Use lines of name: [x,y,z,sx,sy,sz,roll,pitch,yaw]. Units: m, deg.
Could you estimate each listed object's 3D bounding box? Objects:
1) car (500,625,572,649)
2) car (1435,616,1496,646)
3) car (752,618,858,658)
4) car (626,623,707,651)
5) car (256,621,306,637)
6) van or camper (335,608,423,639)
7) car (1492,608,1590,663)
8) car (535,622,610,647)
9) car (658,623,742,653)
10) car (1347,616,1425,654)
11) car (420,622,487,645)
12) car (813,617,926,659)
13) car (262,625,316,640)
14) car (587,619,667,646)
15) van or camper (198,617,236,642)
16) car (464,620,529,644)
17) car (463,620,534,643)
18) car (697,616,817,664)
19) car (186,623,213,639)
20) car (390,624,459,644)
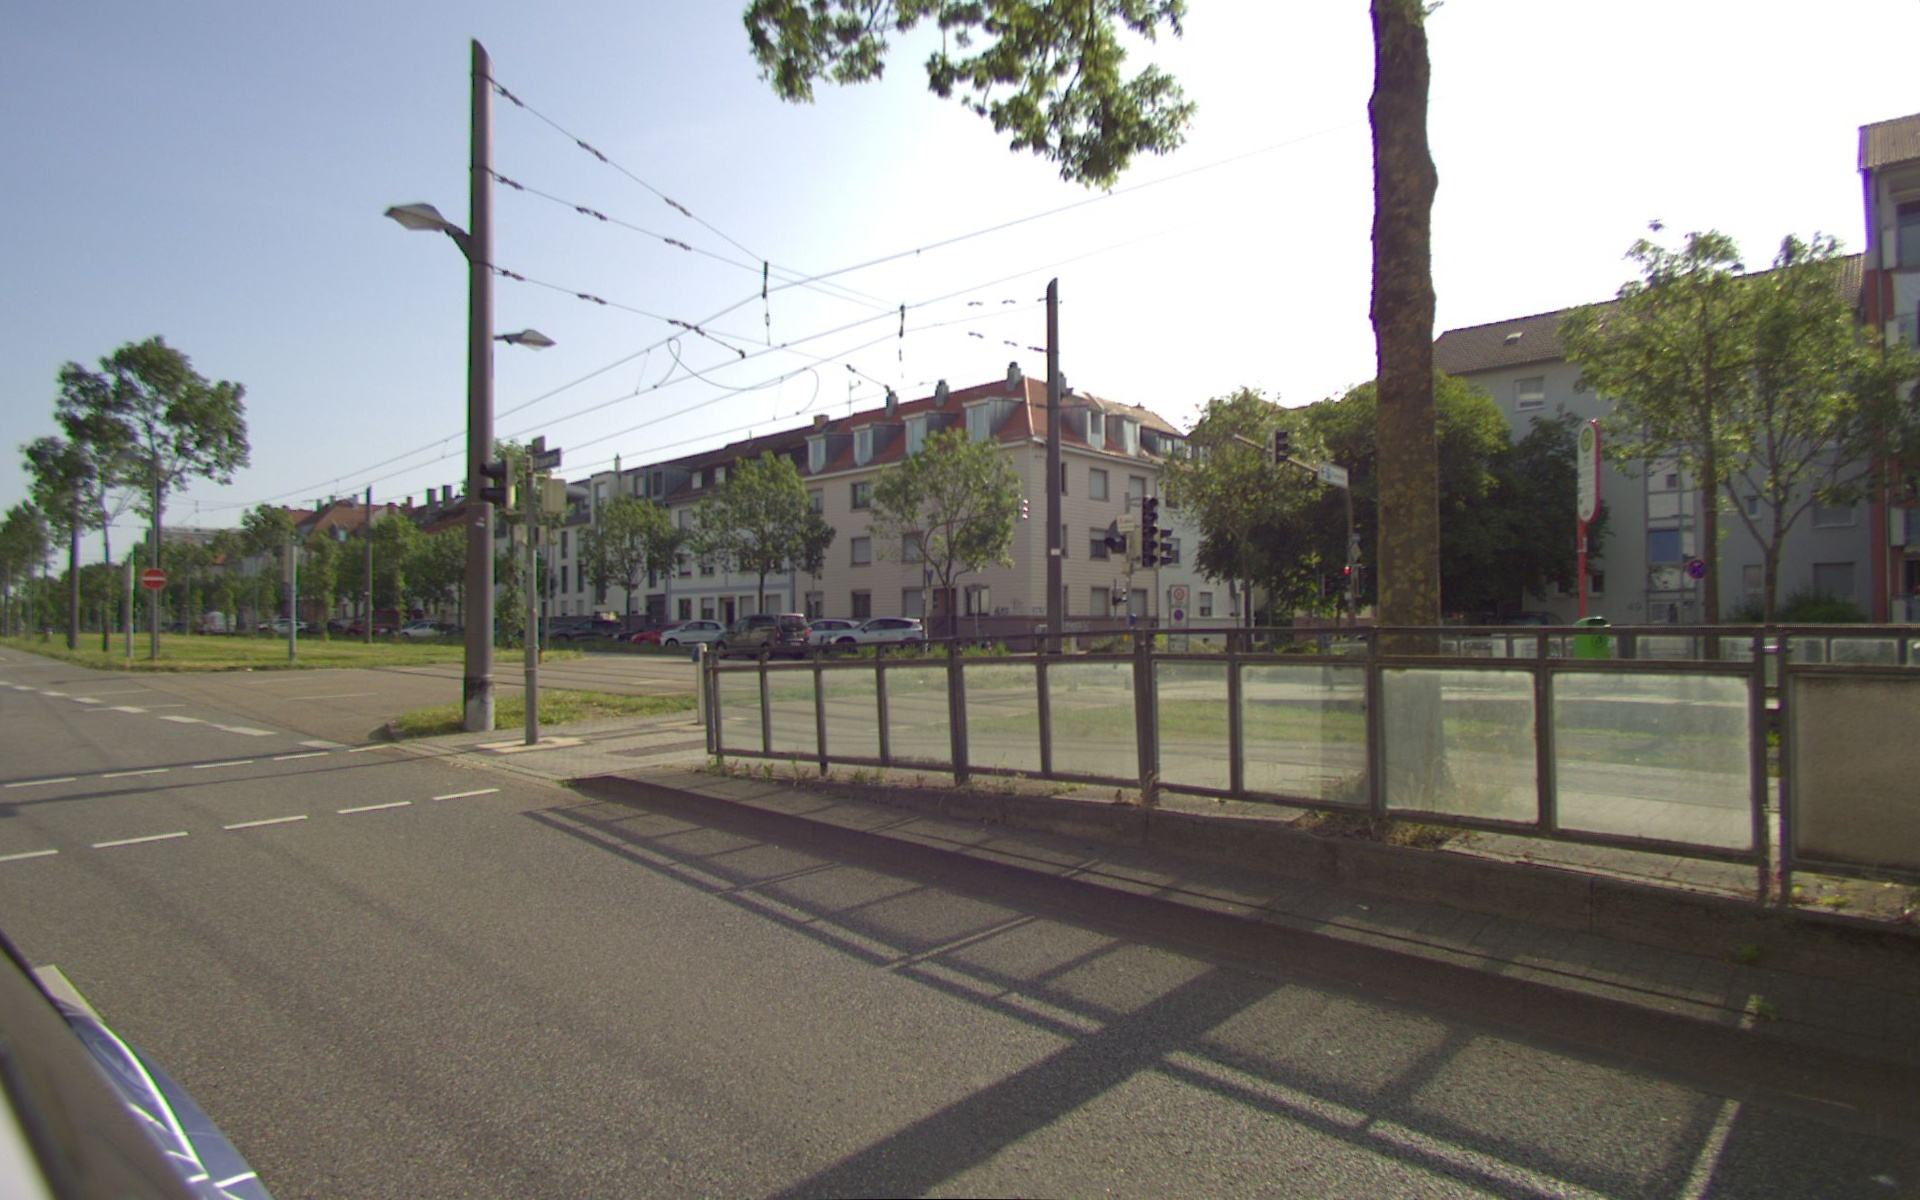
car: [-25.448,2.208,60.901,3.931,1.298,2.006,-1,0,-20]
car: [27.953,1.694,55.937,3.940,1.486,1.822,-2,0,-44]
car: [-6.680,1.601,43.523,4.393,1.526,2.004,-1,0,-10]
car: [-15.157,1.914,52.496,3.933,1.268,1.881,-1,0,-13]
car: [-72.898,3.116,108.649,4.033,1.541,1.816,-1,0,-9]
van or camper: [-49.719,1.989,86.698,6.063,2.566,2.418,-1,-1,-8]
car: [20.121,1.186,34.972,2.001,1.707,3.942,-1,0,44]
car: [-22.521,1.993,58.988,3.990,1.298,2.006,-1,0,-19]
car: [-12.966,1.871,50.439,3.932,1.279,1.892,-1,0,-16]
car: [20.290,1.632,48.134,3.940,1.618,2.001,-2,0,-44]
car: [-35.216,2.330,70.486,3.931,1.386,1.933,-1,0,-19]
car: [-3.700,1.523,41.158,4.281,1.474,1.969,-1,0,-13]
car: [-70.719,3.412,106.695,4.297,1.486,1.861,-1,0,-9]
car: [-17.999,1.748,54.821,3.933,1.244,1.704,-1,0,-13]
van or camper: [-77.728,3.104,105.893,6.060,2.493,2.117,-1,-3,44]
car: [-30.231,2.086,66.125,3.715,1.386,1.670,-1,0,-20]
car: [-31.202,2.106,68.556,4.265,1.386,2.006,-1,0,-20]
car: [-7.900,1.529,39.240,4.708,1.719,1.974,-1,-4,39]
car: [-84.287,3.467,112.201,1.795,1.751,4.163,3,-3,-45]
car: [-40.852,2.606,77.327,4.326,1.330,1.738,-1,0,-13]
